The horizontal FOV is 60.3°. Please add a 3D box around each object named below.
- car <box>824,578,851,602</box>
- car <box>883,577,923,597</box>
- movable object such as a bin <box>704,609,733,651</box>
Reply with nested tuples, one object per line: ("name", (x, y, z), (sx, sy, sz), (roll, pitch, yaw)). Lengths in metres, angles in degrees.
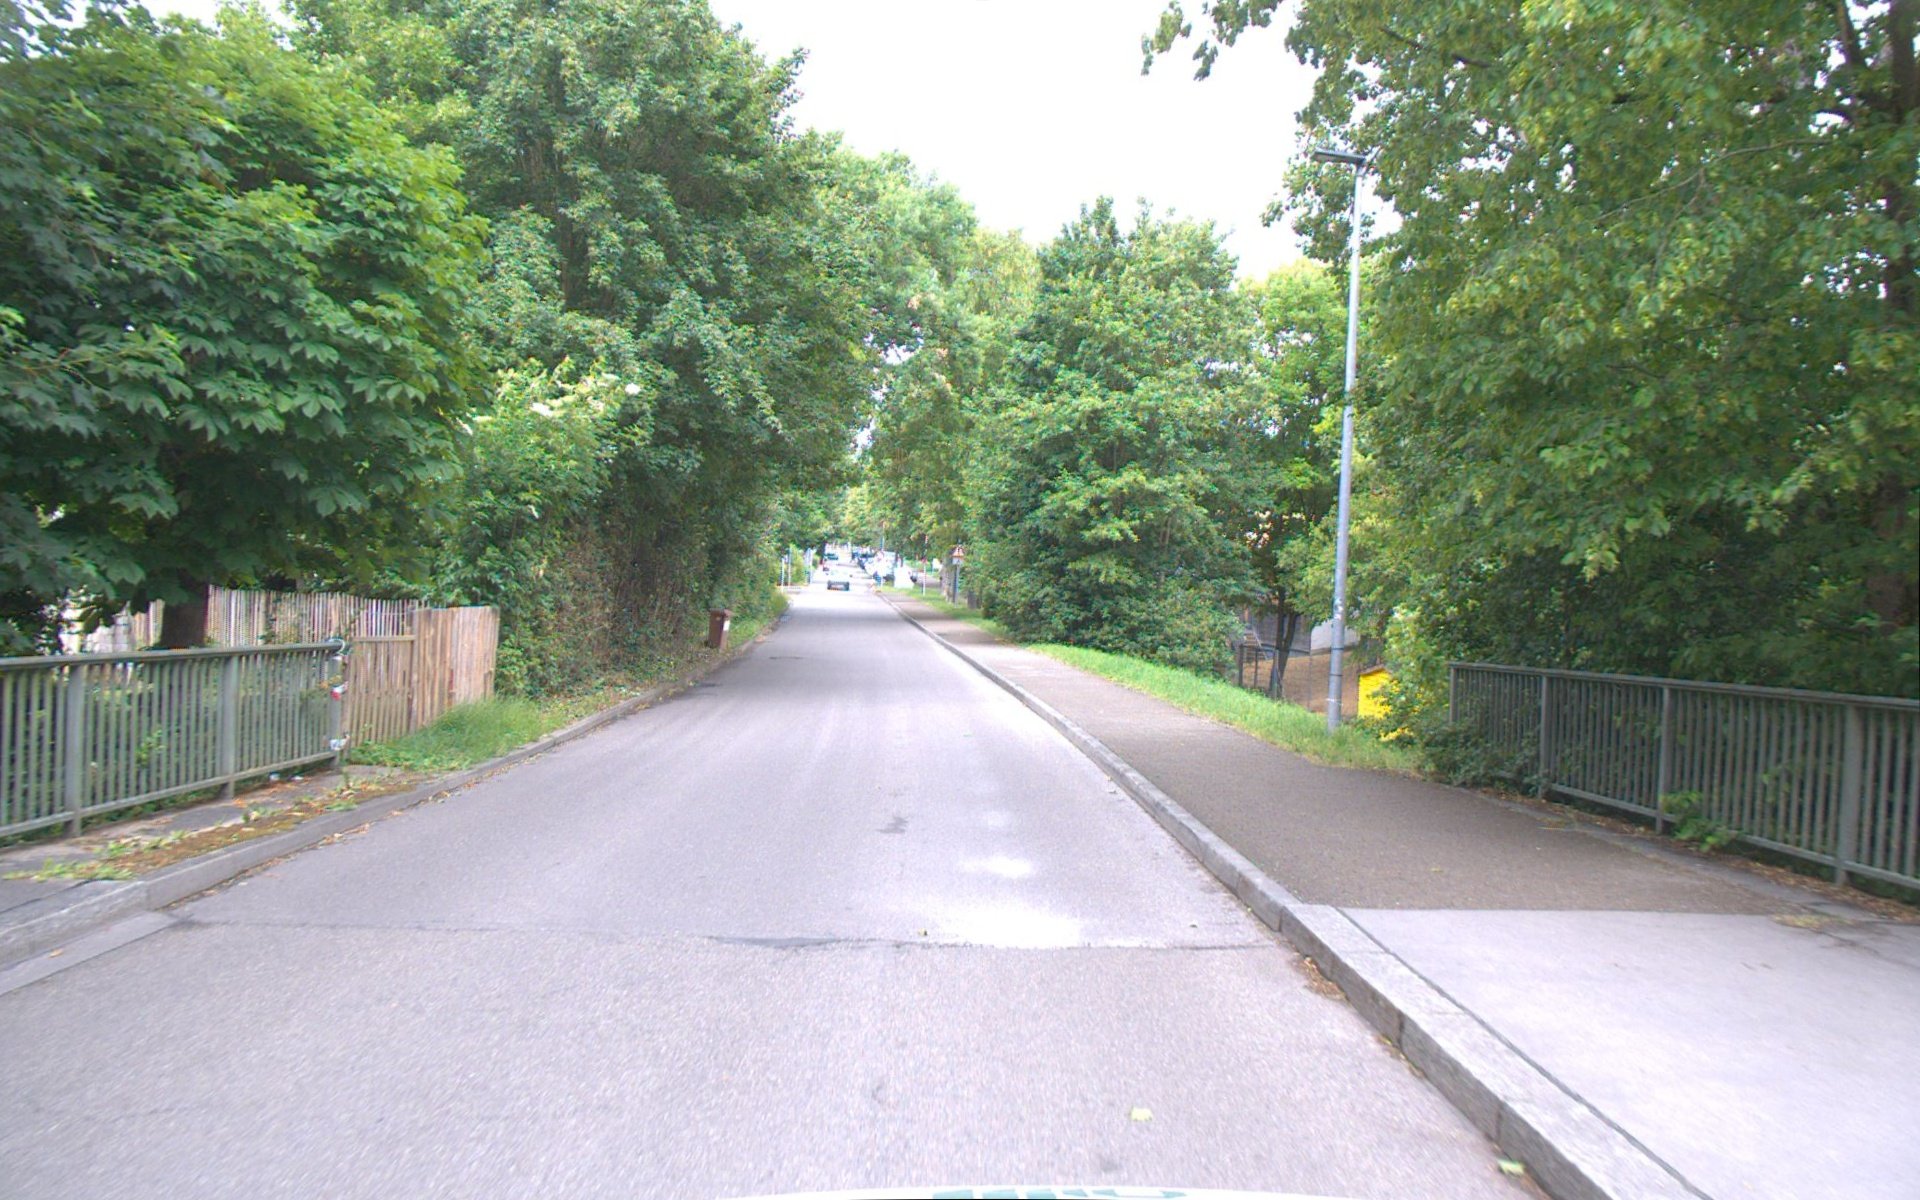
("car", (-9.678, -0.779, 130.999), (1.954, 1.803, 3.997), (2, -1, -3))
("car", (-5.582, -1.268, 161.645), (3.908, 1.803, 1.999), (2, -1, -3))
("movable object such as a bin", (-5.640, 0.700, 38.657), (0.578, 0.974, 0.469), (2, -1, -3))
